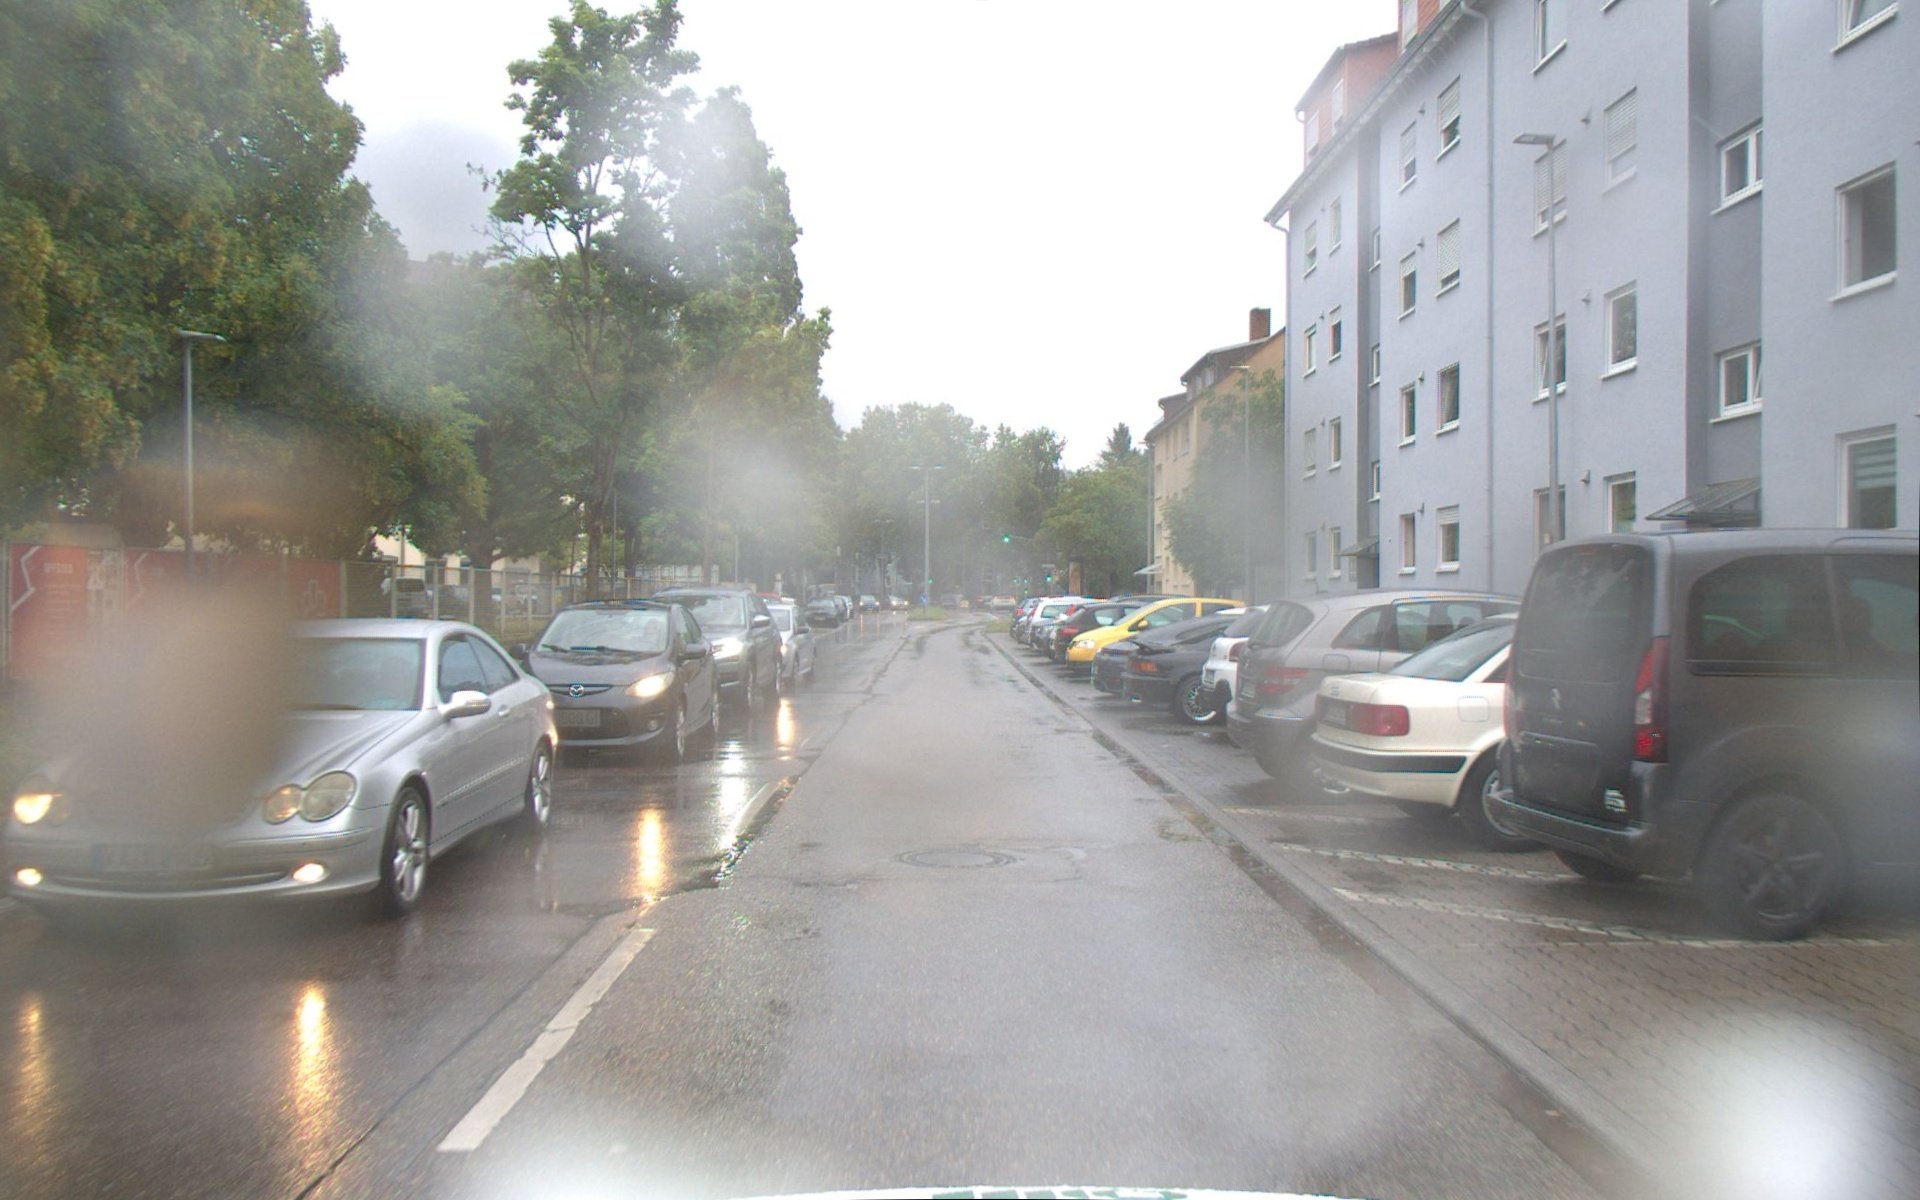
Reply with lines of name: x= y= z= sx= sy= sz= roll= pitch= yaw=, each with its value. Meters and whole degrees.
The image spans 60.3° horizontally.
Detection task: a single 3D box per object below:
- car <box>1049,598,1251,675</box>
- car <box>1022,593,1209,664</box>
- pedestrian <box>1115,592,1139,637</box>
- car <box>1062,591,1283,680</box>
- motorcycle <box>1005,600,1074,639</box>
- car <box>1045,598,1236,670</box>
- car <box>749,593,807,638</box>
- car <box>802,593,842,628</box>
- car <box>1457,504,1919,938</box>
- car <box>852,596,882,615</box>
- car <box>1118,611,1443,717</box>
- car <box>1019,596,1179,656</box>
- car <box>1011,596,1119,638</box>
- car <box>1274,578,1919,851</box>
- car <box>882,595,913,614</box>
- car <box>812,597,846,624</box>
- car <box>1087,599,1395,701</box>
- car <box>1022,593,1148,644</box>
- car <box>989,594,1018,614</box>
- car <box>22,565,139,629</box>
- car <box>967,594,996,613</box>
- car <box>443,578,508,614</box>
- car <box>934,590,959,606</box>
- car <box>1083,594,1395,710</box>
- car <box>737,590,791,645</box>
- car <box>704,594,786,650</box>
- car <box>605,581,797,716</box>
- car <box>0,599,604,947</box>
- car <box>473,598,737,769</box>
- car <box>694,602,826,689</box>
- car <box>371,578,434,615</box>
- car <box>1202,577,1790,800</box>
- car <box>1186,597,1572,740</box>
car: x=3.850 y=0.737 z=34.008 sx=3.906 sy=1.467 sz=1.781 roll=1 pitch=0 yaw=-2
car: x=3.693 y=0.668 z=39.749 sx=4.253 sy=1.579 sz=2.039 roll=1 pitch=0 yaw=-2
pedestrian: x=7.696 y=0.683 z=76.139 sx=0.989 sy=2.049 sz=0.953 roll=1 pitch=-1 yaw=8
car: x=3.979 y=0.661 z=31.401 sx=3.907 sy=1.579 sz=1.852 roll=1 pitch=0 yaw=-3
motorcycle: x=2.819 y=0.701 z=59.035 sx=2.352 sy=1.347 sz=0.918 roll=1 pitch=-1 yaw=-6
car: x=3.932 y=0.732 z=36.616 sx=4.013 sy=1.483 sz=2.000 roll=1 pitch=0 yaw=0
car: x=-6.632 y=0.564 z=60.668 sx=1.733 sy=1.555 sz=4.596 roll=1 pitch=0 yaw=-2
car: x=-6.765 y=0.501 z=80.691 sx=1.742 sy=1.556 sz=3.994 roll=1 pitch=1 yaw=-8
car: x=4.838 y=0.502 z=8.164 sx=4.149 sy=1.837 sz=1.943 roll=0 pitch=0 yaw=-4
car: x=-7.806 y=0.461 z=138.125 sx=1.958 sy=1.512 sz=3.989 roll=1 pitch=0 yaw=-11
car: x=3.964 y=0.784 z=20.968 sx=3.774 sy=1.229 sz=1.956 roll=0 pitch=0 yaw=1
car: x=3.742 y=0.685 z=44.713 sx=4.179 sy=1.479 sz=1.985 roll=1 pitch=1 yaw=4
car: x=3.889 y=0.641 z=61.933 sx=3.905 sy=1.487 sz=1.934 roll=1 pitch=0 yaw=-1
car: x=4.277 y=0.678 z=10.703 sx=4.106 sy=1.596 sz=1.888 roll=0 pitch=0 yaw=-3
car: x=-5.805 y=0.421 z=152.477 sx=1.714 sy=1.718 sz=3.977 roll=1 pitch=0 yaw=-20
car: x=-7.556 y=0.599 z=95.478 sx=1.891 sy=1.510 sz=3.997 roll=0 pitch=0 yaw=-4
car: x=4.353 y=0.766 z=26.136 sx=4.532 sy=1.461 sz=2.000 roll=1 pitch=0 yaw=1
car: x=4.094 y=0.607 z=54.601 sx=3.907 sy=1.579 sz=1.904 roll=1 pitch=0 yaw=-3
car: x=3.339 y=0.287 z=128.092 sx=1.814 sy=1.551 sz=3.995 roll=0 pitch=0 yaw=-6
car: x=-23.045 y=-0.057 z=43.267 sx=1.981 sy=1.585 sz=3.943 roll=0 pitch=-1 yaw=-39
car: x=1.814 y=0.301 z=142.446 sx=1.816 sy=1.551 sz=4.144 roll=0 pitch=0 yaw=-10
car: x=-20.437 y=-0.180 z=69.717 sx=1.688 sy=1.459 sz=3.610 roll=1 pitch=0 yaw=-32
car: x=-1.286 y=-0.173 z=157.164 sx=1.816 sy=1.551 sz=3.991 roll=0 pitch=0 yaw=-10
car: x=3.871 y=0.716 z=23.507 sx=4.059 sy=1.512 sz=2.012 roll=1 pitch=0 yaw=-1
car: x=-6.198 y=0.546 z=52.359 sx=1.594 sy=1.626 sz=4.195 roll=1 pitch=0 yaw=-6
car: x=-6.050 y=0.618 z=46.992 sx=1.626 sy=1.486 sz=4.174 roll=1 pitch=0 yaw=2
car: x=-3.504 y=0.628 z=23.291 sx=1.875 sy=1.668 sz=4.821 roll=1 pitch=0 yaw=1
car: x=-3.317 y=0.734 z=9.302 sx=1.739 sy=1.428 sz=4.827 roll=1 pitch=0 yaw=-2
car: x=-3.357 y=0.716 z=16.450 sx=1.742 sy=1.445 sz=4.264 roll=0 pitch=0 yaw=-1
car: x=-3.464 y=0.754 z=29.332 sx=1.637 sy=1.407 sz=4.253 roll=0 pitch=0 yaw=3
car: x=-22.936 y=-0.158 z=67.985 sx=1.688 sy=1.459 sz=3.610 roll=1 pitch=0 yaw=-32
car: x=4.163 y=0.671 z=13.314 sx=4.097 sy=1.599 sz=1.889 roll=1 pitch=0 yaw=-2
car: x=4.544 y=0.727 z=18.318 sx=3.777 sy=1.480 sz=1.835 roll=0 pitch=0 yaw=-3
